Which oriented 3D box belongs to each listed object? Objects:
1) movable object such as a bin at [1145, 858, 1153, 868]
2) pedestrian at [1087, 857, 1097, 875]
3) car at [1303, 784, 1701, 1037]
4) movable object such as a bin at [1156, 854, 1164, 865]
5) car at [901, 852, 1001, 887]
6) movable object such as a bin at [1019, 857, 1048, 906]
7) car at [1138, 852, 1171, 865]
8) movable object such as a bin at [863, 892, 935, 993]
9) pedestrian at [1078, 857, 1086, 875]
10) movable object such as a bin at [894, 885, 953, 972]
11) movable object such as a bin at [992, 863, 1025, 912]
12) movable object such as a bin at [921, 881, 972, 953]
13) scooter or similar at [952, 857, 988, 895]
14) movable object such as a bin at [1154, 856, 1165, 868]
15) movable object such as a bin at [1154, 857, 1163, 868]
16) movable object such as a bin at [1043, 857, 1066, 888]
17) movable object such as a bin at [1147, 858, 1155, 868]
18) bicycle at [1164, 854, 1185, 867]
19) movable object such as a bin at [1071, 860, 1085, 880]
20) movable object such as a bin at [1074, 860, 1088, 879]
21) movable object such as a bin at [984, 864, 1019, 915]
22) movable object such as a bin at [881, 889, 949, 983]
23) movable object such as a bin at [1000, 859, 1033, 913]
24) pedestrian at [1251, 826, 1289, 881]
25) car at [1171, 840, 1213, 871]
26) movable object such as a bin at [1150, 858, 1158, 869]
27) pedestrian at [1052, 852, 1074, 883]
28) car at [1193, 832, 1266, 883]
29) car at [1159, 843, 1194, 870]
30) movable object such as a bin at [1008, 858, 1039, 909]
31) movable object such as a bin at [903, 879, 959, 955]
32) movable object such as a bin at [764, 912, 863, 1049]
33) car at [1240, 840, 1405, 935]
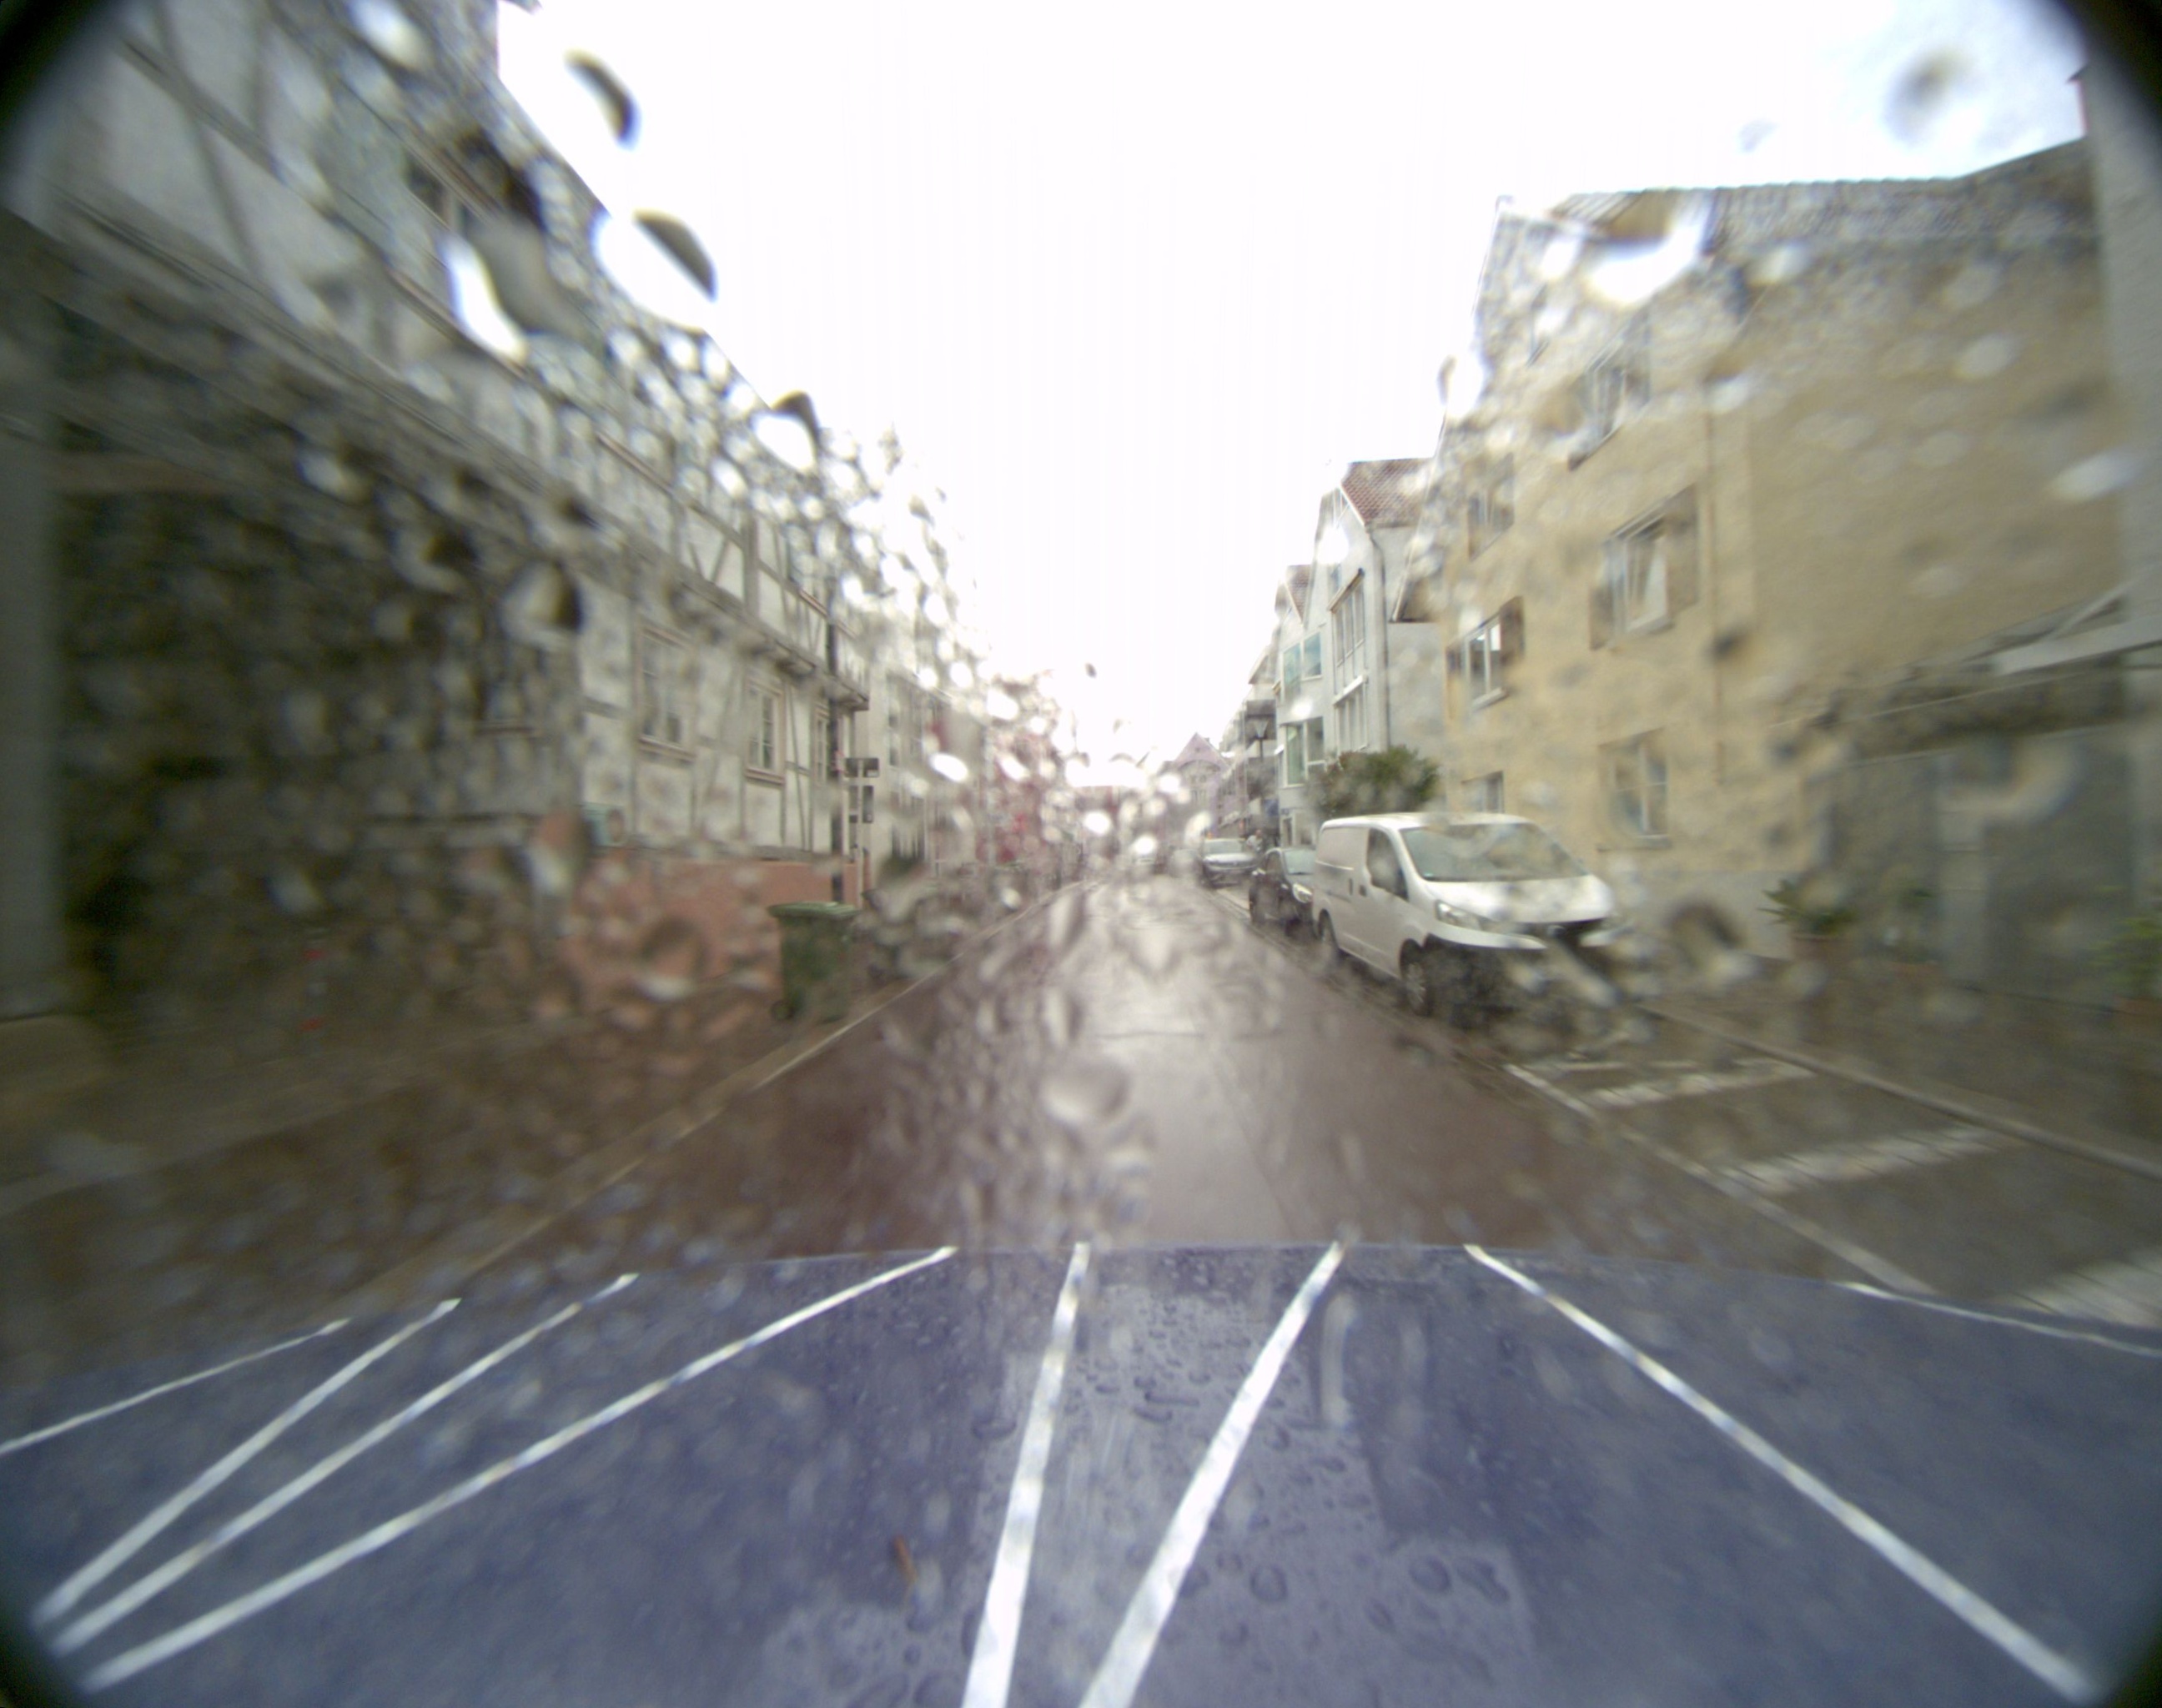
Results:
[{"bbox_3d":[7.168,0.961,79.897,0.688,1.080,0.712,-2,0,-5],"label":"movable object such as a bin"},{"bbox_3d":[1.156,1.248,81.317,0.775,1.894,0.804,-3,2,-23],"label":"pedestrian"},{"bbox_3d":[3.763,0.380,7.830,1.727,1.815,4.428,-2,1,2],"label":"car"},{"bbox_3d":[7.710,0.552,74.140,0.688,1.070,0.669,-2,0,-5],"label":"movable object such as a bin"},{"bbox_3d":[-5.831,0.685,34.259,3.992,1.505,1.914,0,0,14],"label":"car"},{"bbox_3d":[-1.289,0.728,20.699,0.639,1.283,0.632,-2,2,9],"label":"movable object such as a bin"},{"bbox_3d":[9.406,0.558,97.434,3.992,1.574,1.834,-2,1,10],"label":"car"},{"bbox_3d":[-2.210,1.066,9.279,0.639,1.140,0.580,-2,2,8],"label":"movable object such as a bin"},{"bbox_3d":[0.143,1.263,81.606,0.656,1.892,0.658,0,1,-23],"label":"pedestrian"},{"bbox_3d":[-2.207,1.032,10.681,0.639,1.140,0.632,-2,2,1],"label":"movable object such as a bin"},{"bbox_3d":[-1.730,0.797,18.207,0.617,1.125,0.632,-2,2,9],"label":"movable object such as a bin"},{"bbox_3d":[-2.202,1.024,12.523,0.680,1.090,0.650,-3,1,0],"label":"movable object such as a bin"},{"bbox_3d":[-3.607,0.691,24.764,0.666,1.139,1.447,-2,1,11],"label":"scooter or similar"},{"bbox_3d":[6.993,0.690,67.678,0.689,1.014,0.631,-2,0,-14],"label":"movable object such as a bin"},{"bbox_3d":[7.732,0.892,75.843,0.688,1.067,0.669,-2,0,-5],"label":"movable object such as a bin"},{"bbox_3d":[-1.031,0.713,29.702,0.806,1.124,0.862,-2,2,2],"label":"movable object such as a bin"},{"bbox_3d":[7.239,0.951,79.107,0.688,1.074,0.669,-2,0,-5],"label":"movable object such as a bin"},{"bbox_3d":[8.422,0.585,68.331,1.752,1.158,0.443,-2,2,-16],"label":"bicycle"},{"bbox_3d":[-0.171,0.921,43.223,0.730,1.075,0.647,-2,1,5],"label":"movable object such as a bin"},{"bbox_3d":[0.000,0.911,44.658,0.677,1.078,0.698,-2,1,5],"label":"movable object such as a bin"},{"bbox_3d":[-1.824,0.815,17.542,0.617,1.125,0.632,-2,2,9],"label":"movable object such as a bin"},{"bbox_3d":[-2.147,1.049,9.891,0.639,1.140,0.604,-2,2,8],"label":"movable object such as a bin"},{"bbox_3d":[-1.603,0.785,18.942,0.639,1.283,0.632,-2,2,9],"label":"movable object such as a bin"},{"bbox_3d":[6.464,-0.009,26.047,1.037,1.795,1.116,-3,0,4],"label":"pedestrian"},{"bbox_3d":[5.647,0.078,39.004,1.834,1.490,4.765,-1,0,5],"label":"car"},{"bbox_3d":[7.429,0.921,77.264,0.688,1.099,0.669,-2,0,-5],"label":"movable object such as a bin"},{"bbox_3d":[-0.992,0.757,42.315,1.180,1.687,1.177,0,0,1],"label":"pedestrian"},{"bbox_3d":[5.061,0.057,26.440,1.784,1.560,4.407,-2,1,2],"label":"car"},{"bbox_3d":[5.911,0.145,47.425,1.795,1.542,4.001,-3,0,3],"label":"car"},{"bbox_3d":[-1.488,0.755,19.768,0.639,1.283,0.632,-2,2,9],"label":"movable object such as a bin"},{"bbox_3d":[-2.226,0.926,11.319,0.671,1.075,0.587,-1,2,2],"label":"movable object such as a bin"},{"bbox_3d":[-2.420,1.130,6.926,0.610,1.121,0.599,-2,2,4],"label":"movable object such as a bin"},{"bbox_3d":[4.086,0.473,13.497,1.685,1.381,3.824,-2,1,0],"label":"car"}]
